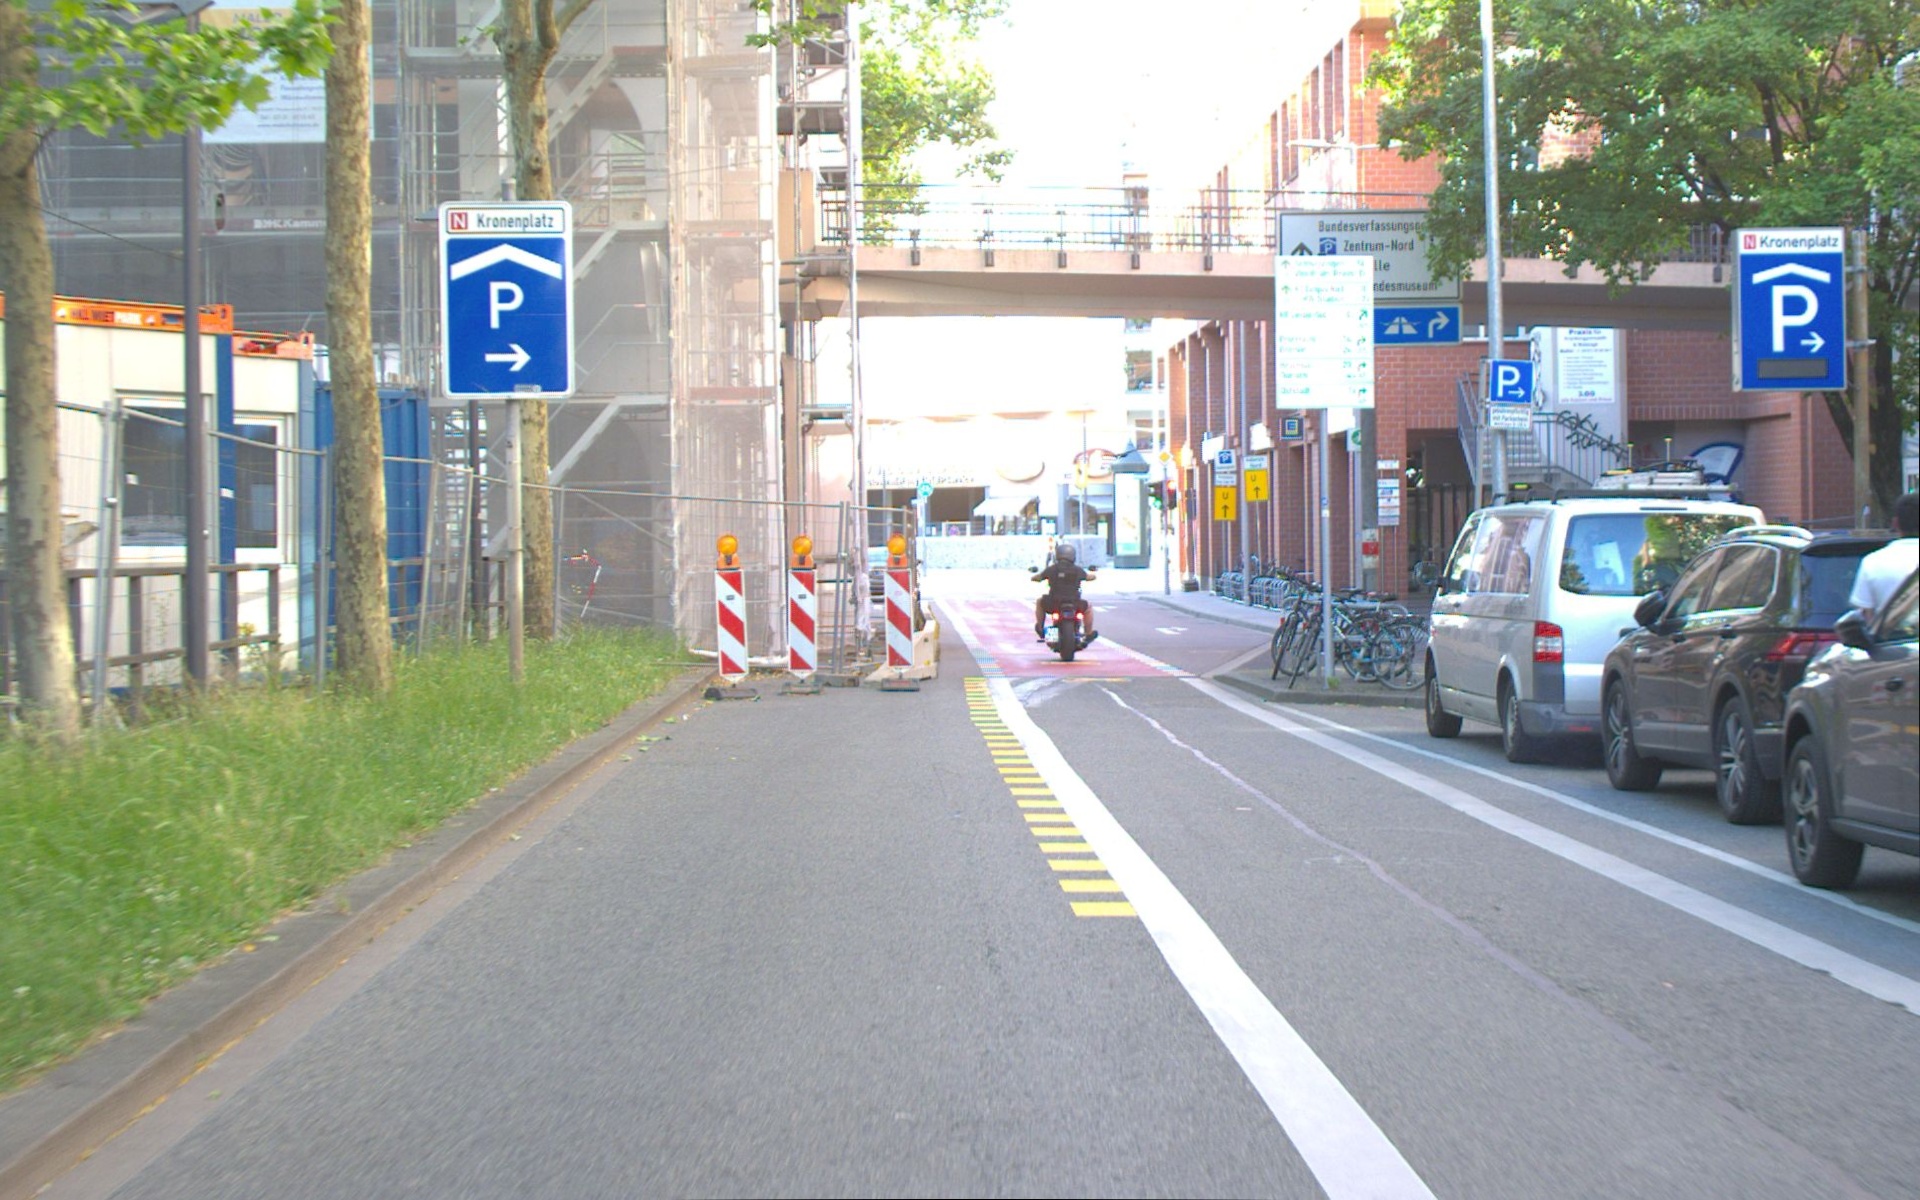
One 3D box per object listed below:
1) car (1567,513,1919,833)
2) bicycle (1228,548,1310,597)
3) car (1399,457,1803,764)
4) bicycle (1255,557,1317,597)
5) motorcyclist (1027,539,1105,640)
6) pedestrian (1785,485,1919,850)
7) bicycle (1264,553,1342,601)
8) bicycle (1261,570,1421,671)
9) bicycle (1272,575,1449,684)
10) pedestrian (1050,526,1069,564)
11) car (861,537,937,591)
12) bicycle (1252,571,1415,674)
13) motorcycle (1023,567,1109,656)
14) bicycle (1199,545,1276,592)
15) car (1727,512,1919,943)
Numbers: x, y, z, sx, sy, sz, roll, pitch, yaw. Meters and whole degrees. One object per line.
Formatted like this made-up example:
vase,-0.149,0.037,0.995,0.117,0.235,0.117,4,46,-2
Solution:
car,4.885,0.336,20.119,1.787,1.664,4.200,-1,1,-2
bicycle,7.408,-0.659,82.441,1.891,1.115,0.550,-1,1,-1
car,4.687,0.020,25.946,1.918,2.071,5.171,-1,1,-2
bicycle,7.409,-0.525,78.206,1.334,0.838,0.425,-3,1,1
motorcyclist,1.435,-0.151,46.536,0.970,1.342,1.138,1,1,-2
pedestrian,4.691,0.324,17.488,0.714,1.806,0.662,-2,1,-44
bicycle,7.525,-0.510,75.478,1.611,0.951,0.555,-3,1,1
bicycle,4.146,0.213,37.459,1.680,1.064,0.500,1,1,33
bicycle,3.998,0.285,34.365,1.679,1.064,0.511,0,1,22
pedestrian,4.120,-2.288,142.795,0.539,1.578,0.557,-2,2,-44
car,-1.680,-0.985,92.886,1.923,1.384,4.001,-1,1,-3
bicycle,3.969,0.229,36.603,1.680,1.064,0.500,1,1,33
motorcycle,1.418,0.141,46.559,0.973,1.128,2.805,1,1,-2
bicycle,6.972,-0.793,86.413,1.891,1.115,0.475,-1,1,-1
car,4.570,0.470,13.942,1.787,1.664,4.441,-1,1,-2
